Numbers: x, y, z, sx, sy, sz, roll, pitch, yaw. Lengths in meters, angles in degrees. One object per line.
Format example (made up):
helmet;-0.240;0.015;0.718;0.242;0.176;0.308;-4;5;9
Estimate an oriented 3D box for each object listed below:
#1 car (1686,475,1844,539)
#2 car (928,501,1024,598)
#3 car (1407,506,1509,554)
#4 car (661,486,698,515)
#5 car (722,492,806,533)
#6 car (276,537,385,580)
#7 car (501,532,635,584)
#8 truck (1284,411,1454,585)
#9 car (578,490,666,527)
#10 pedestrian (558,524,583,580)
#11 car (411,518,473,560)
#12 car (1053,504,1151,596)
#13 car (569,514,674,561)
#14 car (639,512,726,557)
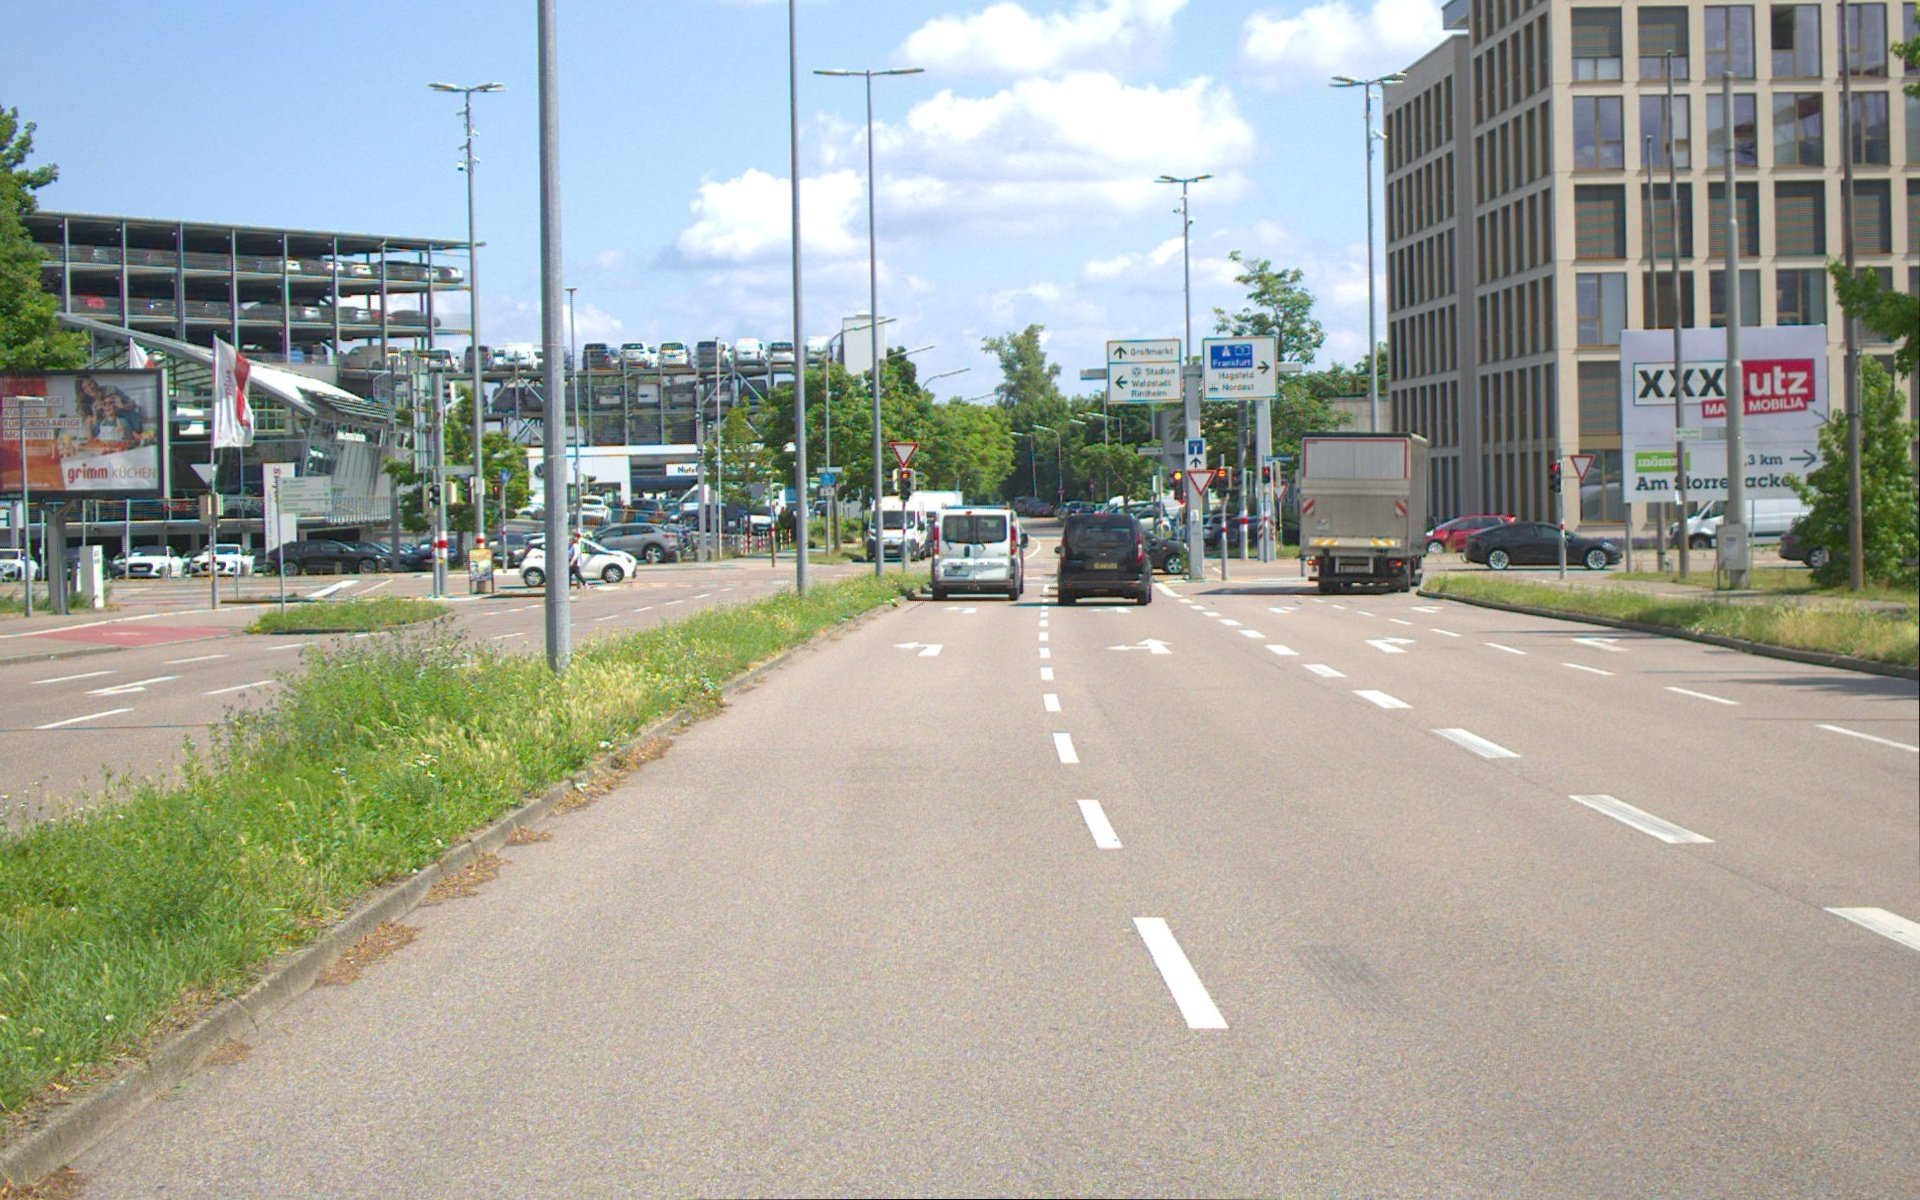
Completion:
car;29.344;-3.389;125.435;5.499;2.247;1.999;0;2;11
car;0.368;-1.116;74.356;1.856;2.011;4.000;0;2;3
car;17.028;-2.408;117.657;3.272;1.400;1.334;-1;10;-1
car;-15.077;-5.381;185.162;1.846;1.524;4.001;-1;2;-3
car;-9.381;-4.200;164.400;3.986;1.919;1.827;-1;1;-5
car;-23.308;-1.550;127.396;3.791;1.508;1.679;-1;2;-3
car;-11.680;-1.254;102.624;3.850;1.461;1.696;-1;2;-3
truck;10.026;-2.531;83.414;3.131;3.926;8.854;2;3;13
car;-16.107;-4.366;163.959;4.164;1.707;1.689;0;2;-4
pedestrian;-10.712;-1.321;94.467;0.470;1.507;0.511;0;1;27
car;-19.322;-2.275;128.069;1.816;1.546;4.001;-1;1;-15
car;2.888;-1.037;69.329;1.820;1.802;4.000;0;2;4
car;-13.066;-2.427;133.027;3.861;1.633;1.858;-2;2;-2
car;-11.619;-2.735;143.954;3.507;1.707;1.604;-2;2;-2
